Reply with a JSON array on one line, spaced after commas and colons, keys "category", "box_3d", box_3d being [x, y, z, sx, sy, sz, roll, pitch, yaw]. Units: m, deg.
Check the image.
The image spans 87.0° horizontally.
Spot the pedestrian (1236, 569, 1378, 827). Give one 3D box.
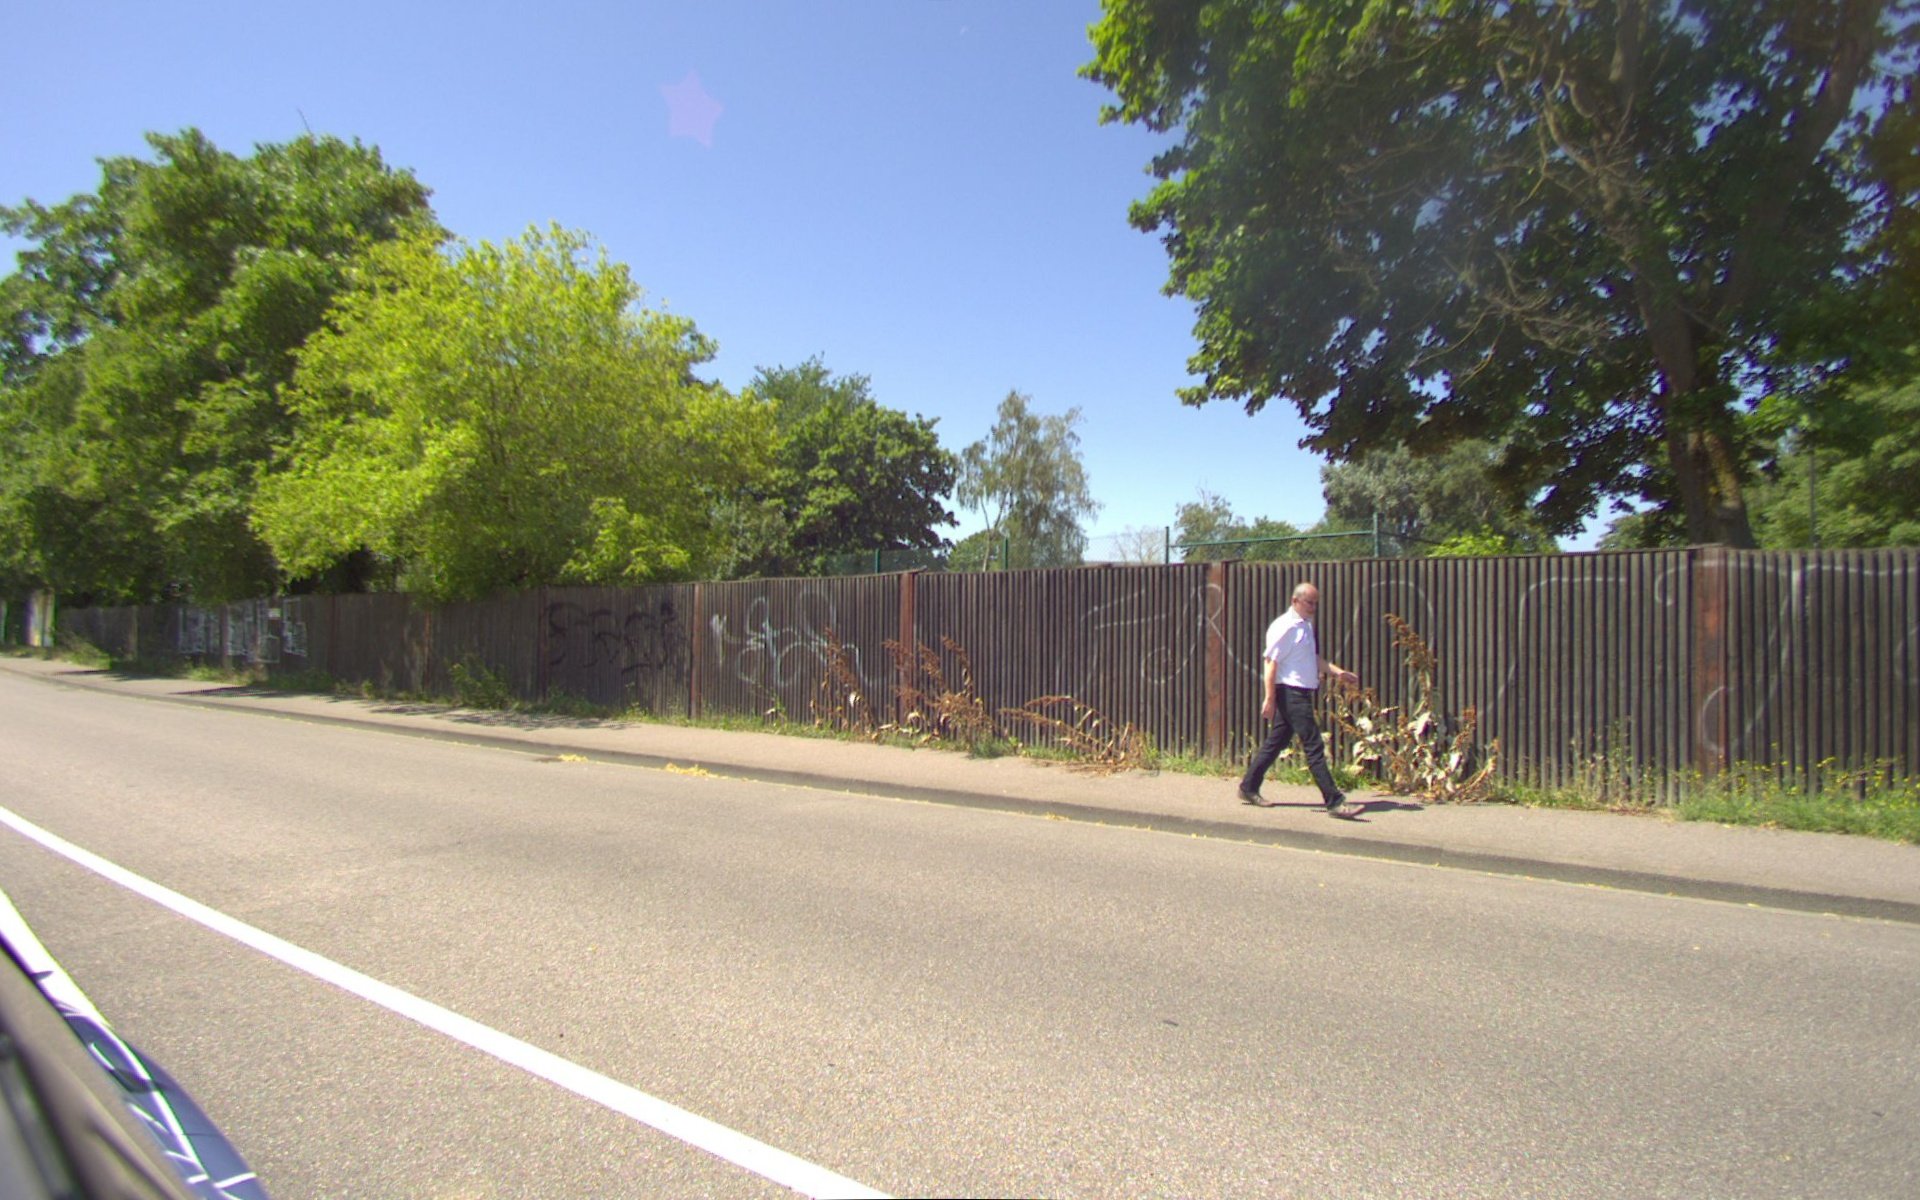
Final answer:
[{"category": "pedestrian", "box_3d": [2.645, 0.704, 7.722, 0.850, 1.838, 0.586, -1, -1, 41]}]
